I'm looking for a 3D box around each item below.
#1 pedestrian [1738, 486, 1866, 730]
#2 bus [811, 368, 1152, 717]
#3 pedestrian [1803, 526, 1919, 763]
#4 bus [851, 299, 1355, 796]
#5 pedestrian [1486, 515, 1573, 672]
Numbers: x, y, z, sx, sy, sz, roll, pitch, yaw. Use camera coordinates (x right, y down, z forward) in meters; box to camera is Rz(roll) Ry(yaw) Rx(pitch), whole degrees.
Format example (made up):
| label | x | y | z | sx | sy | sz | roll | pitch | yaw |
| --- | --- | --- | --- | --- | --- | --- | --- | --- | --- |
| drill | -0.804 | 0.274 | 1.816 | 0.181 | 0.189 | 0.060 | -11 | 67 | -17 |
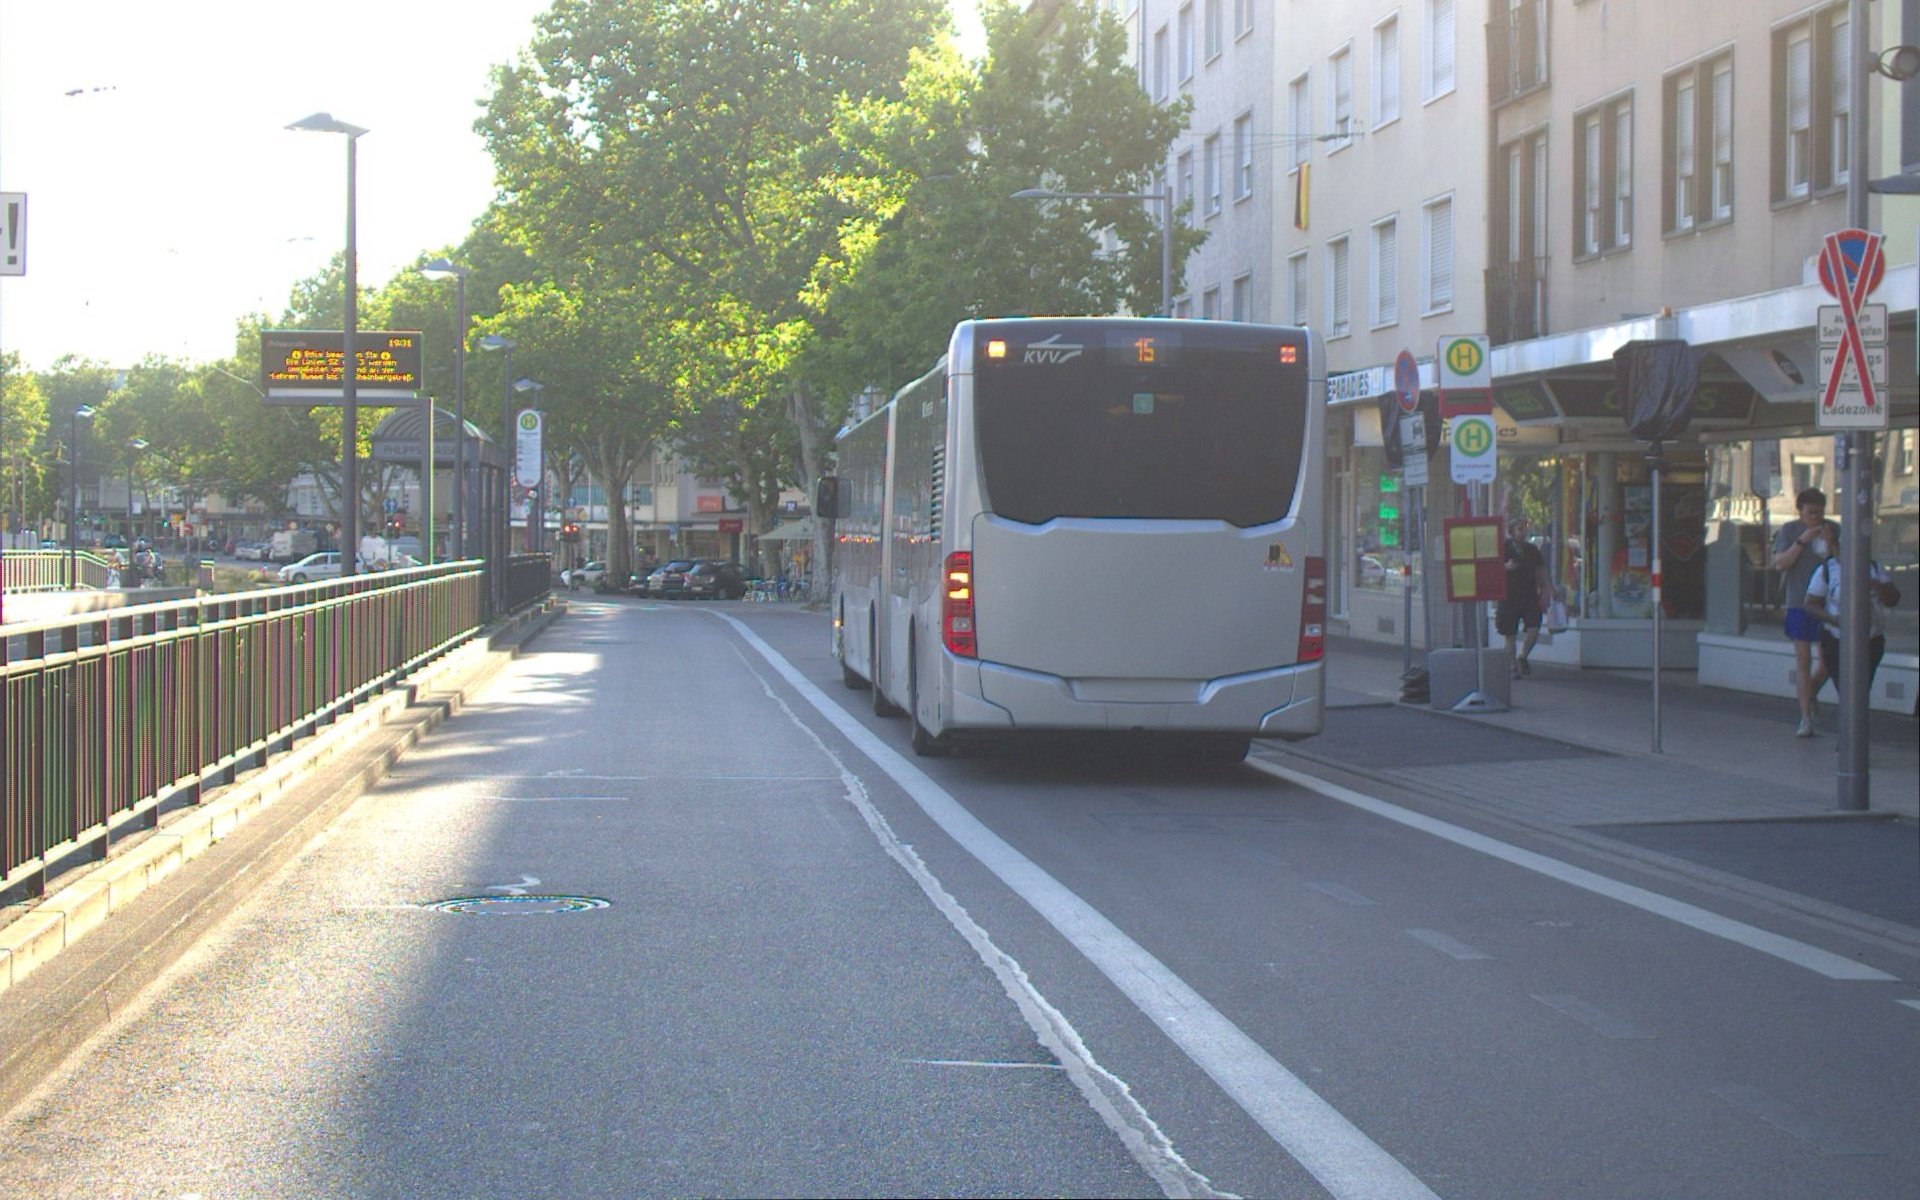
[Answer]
| label | x | y | z | sx | sy | sz | roll | pitch | yaw |
| --- | --- | --- | --- | --- | --- | --- | --- | --- | --- |
| pedestrian | 6.402 | 0.055 | 26.154 | 0.723 | 1.834 | 0.766 | 0 | 1 | -5 |
| bus | 0.004 | -0.609 | 35.699 | 2.696 | 3.107 | 9.072 | 1 | 1 | -5 |
| pedestrian | 6.138 | 0.291 | 23.220 | 0.610 | 1.573 | 0.851 | 0 | 1 | -5 |
| bus | 0.769 | -0.421 | 26.546 | 2.696 | 3.107 | 9.383 | 1 | 1 | -5 |
| pedestrian | 5.964 | -0.073 | 36.006 | 0.723 | 1.627 | 0.766 | 0 | 1 | -5 |
